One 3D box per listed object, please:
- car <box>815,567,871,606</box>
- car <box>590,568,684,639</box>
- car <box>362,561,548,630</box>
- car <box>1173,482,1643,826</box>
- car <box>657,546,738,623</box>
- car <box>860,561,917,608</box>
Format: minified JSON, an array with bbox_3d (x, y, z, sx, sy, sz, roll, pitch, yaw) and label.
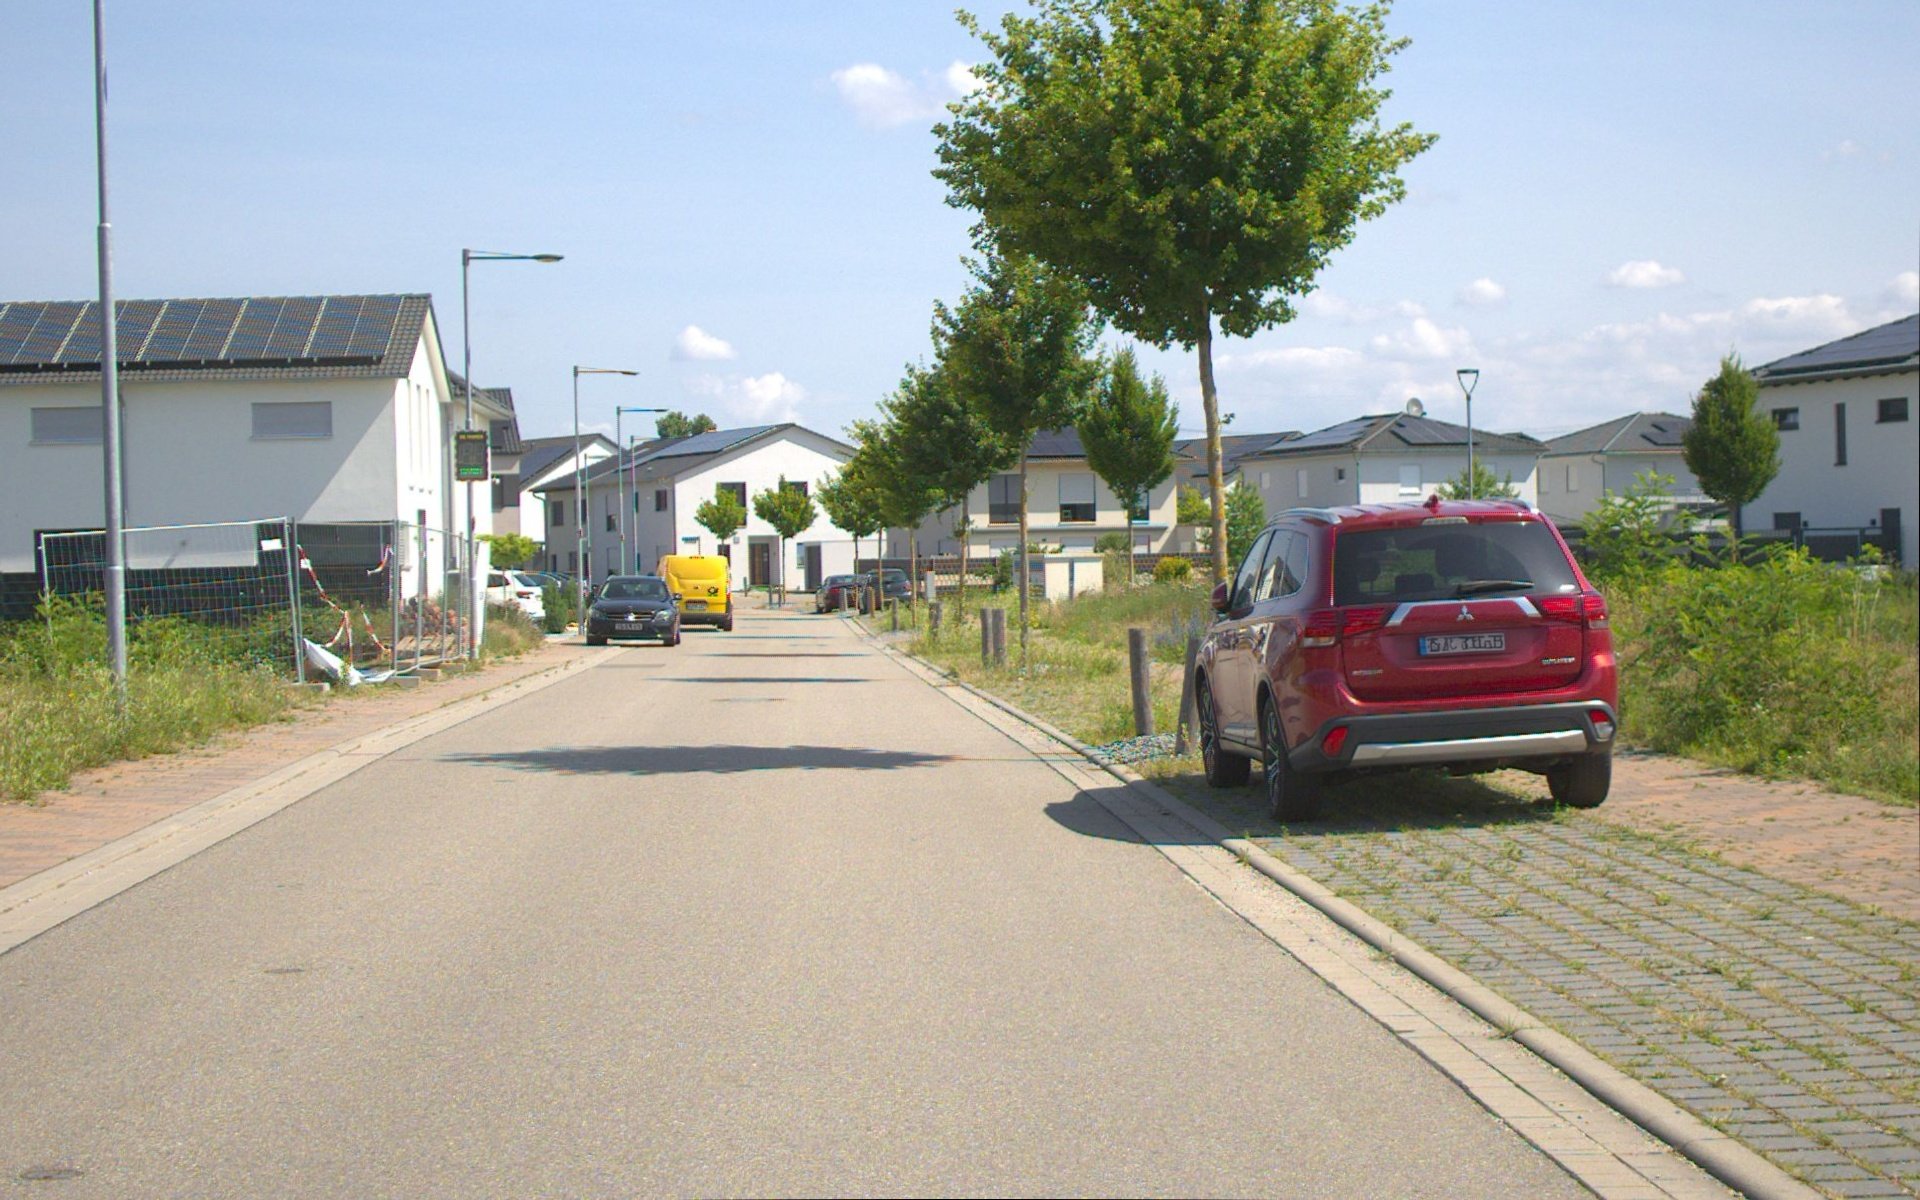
[{"bbox_3d":[-4.446,-0.507,130.033,1.627,1.318,3.834,-1,-1,-9],"label":"car"},{"bbox_3d":[-6.654,0.052,71.125,1.745,1.400,4.160,1,1,-3],"label":"car"},{"bbox_3d":[-11.925,-0.117,81.350,4.069,1.576,1.784,0,1,3],"label":"car"},{"bbox_3d":[2.397,0.229,19.515,1.776,1.657,4.434,-2,1,-3],"label":"car"},{"bbox_3d":[-6.997,-0.388,91.204,1.941,1.975,4.218,-1,0,-7],"label":"car"},{"bbox_3d":[-2.329,-0.493,111.488,1.639,1.398,3.811,-1,-1,-4],"label":"car"}]
